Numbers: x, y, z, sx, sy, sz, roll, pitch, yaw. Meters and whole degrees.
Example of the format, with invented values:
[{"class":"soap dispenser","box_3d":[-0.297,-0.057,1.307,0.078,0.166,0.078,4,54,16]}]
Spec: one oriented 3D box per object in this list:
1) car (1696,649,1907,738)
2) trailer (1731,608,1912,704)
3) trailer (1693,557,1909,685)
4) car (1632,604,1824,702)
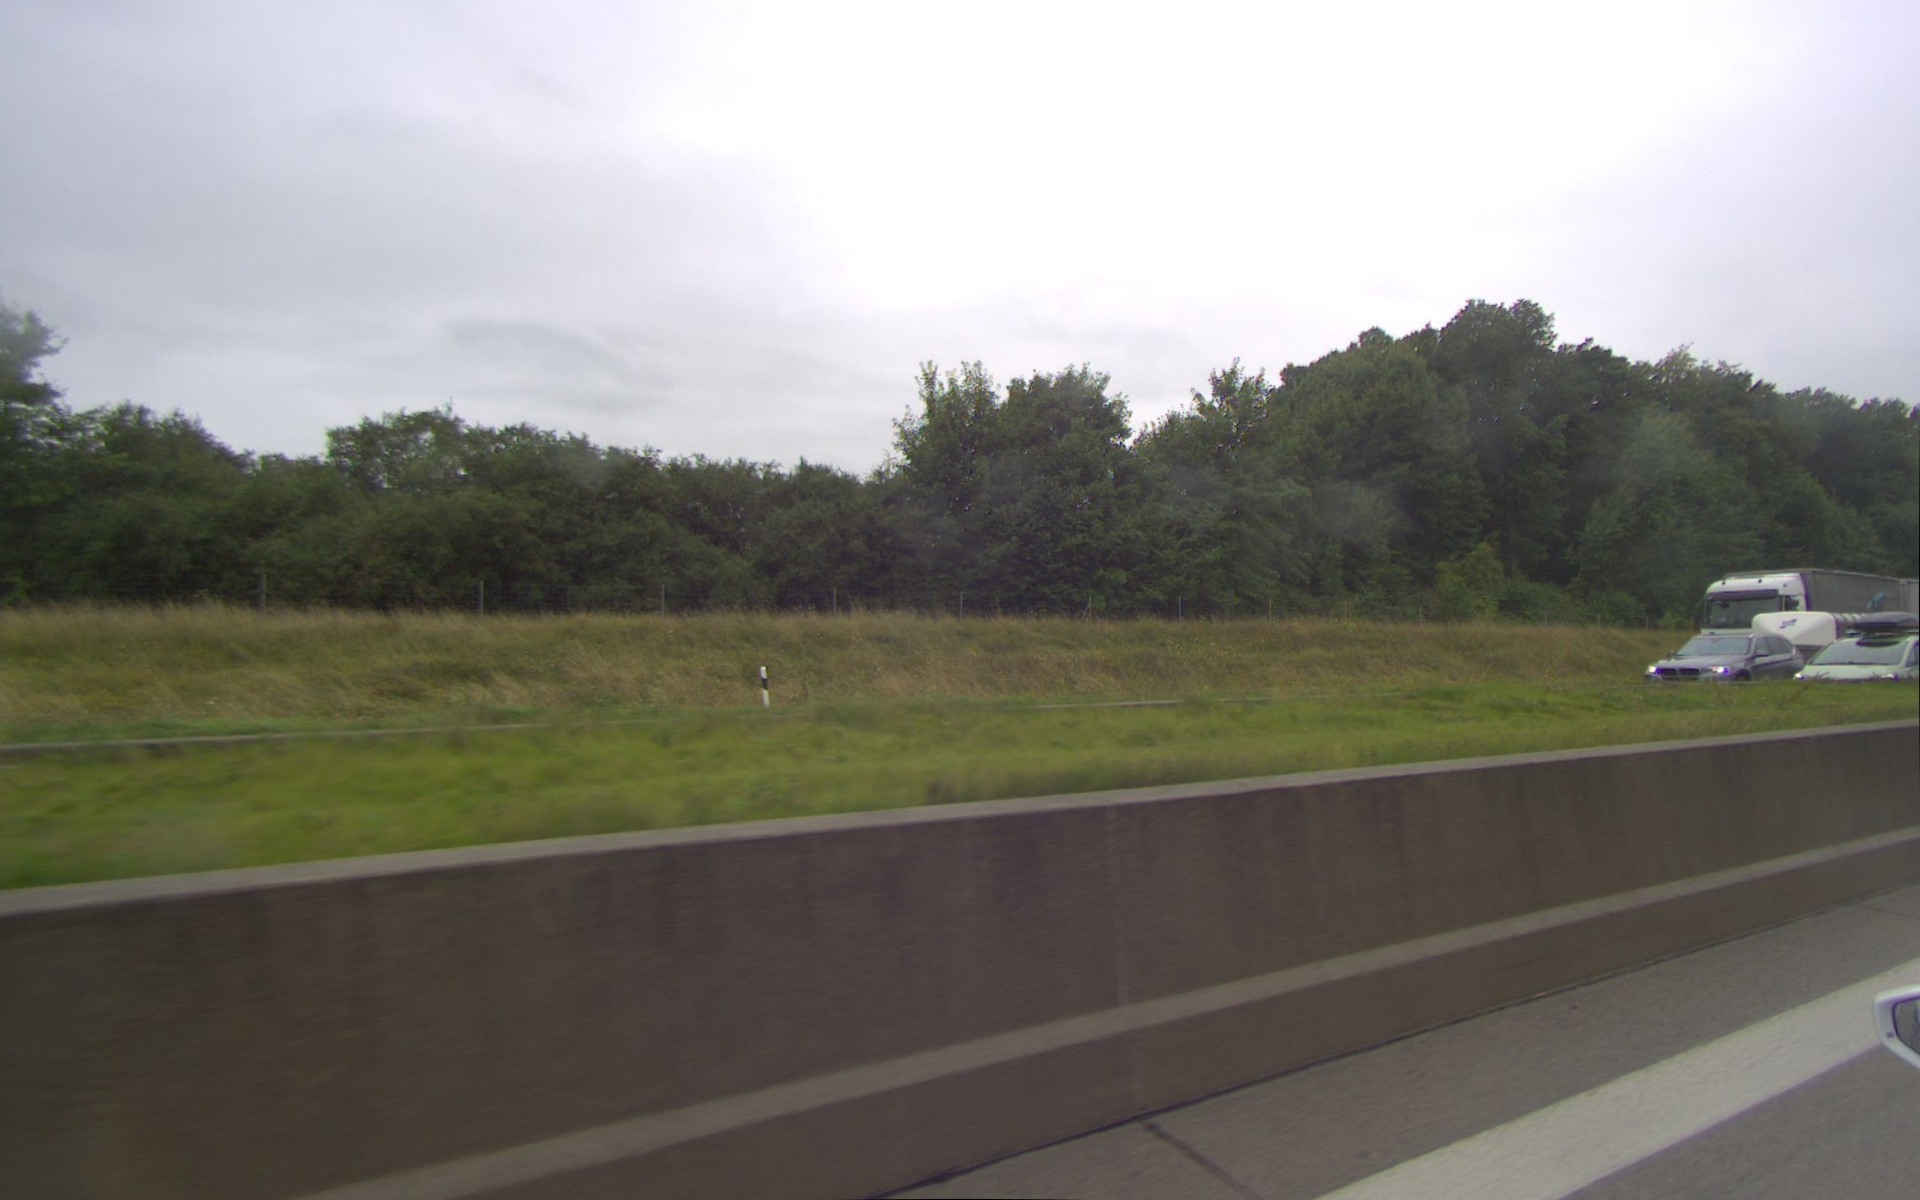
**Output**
[{"class":"car","box_3d":[16.164,1.711,19.247,4.397,1.488,1.747,1,-2,-31]},{"class":"trailer","box_3d":[23.701,1.483,27.564,5.766,2.404,2.029,1,-2,-31]},{"class":"trailer","box_3d":[30.292,0.830,36.004,10.254,4.099,2.574,1,-3,-31]},{"class":"car","box_3d":[18.958,1.267,24.736,5.146,2.209,1.984,1,-2,-31]}]
